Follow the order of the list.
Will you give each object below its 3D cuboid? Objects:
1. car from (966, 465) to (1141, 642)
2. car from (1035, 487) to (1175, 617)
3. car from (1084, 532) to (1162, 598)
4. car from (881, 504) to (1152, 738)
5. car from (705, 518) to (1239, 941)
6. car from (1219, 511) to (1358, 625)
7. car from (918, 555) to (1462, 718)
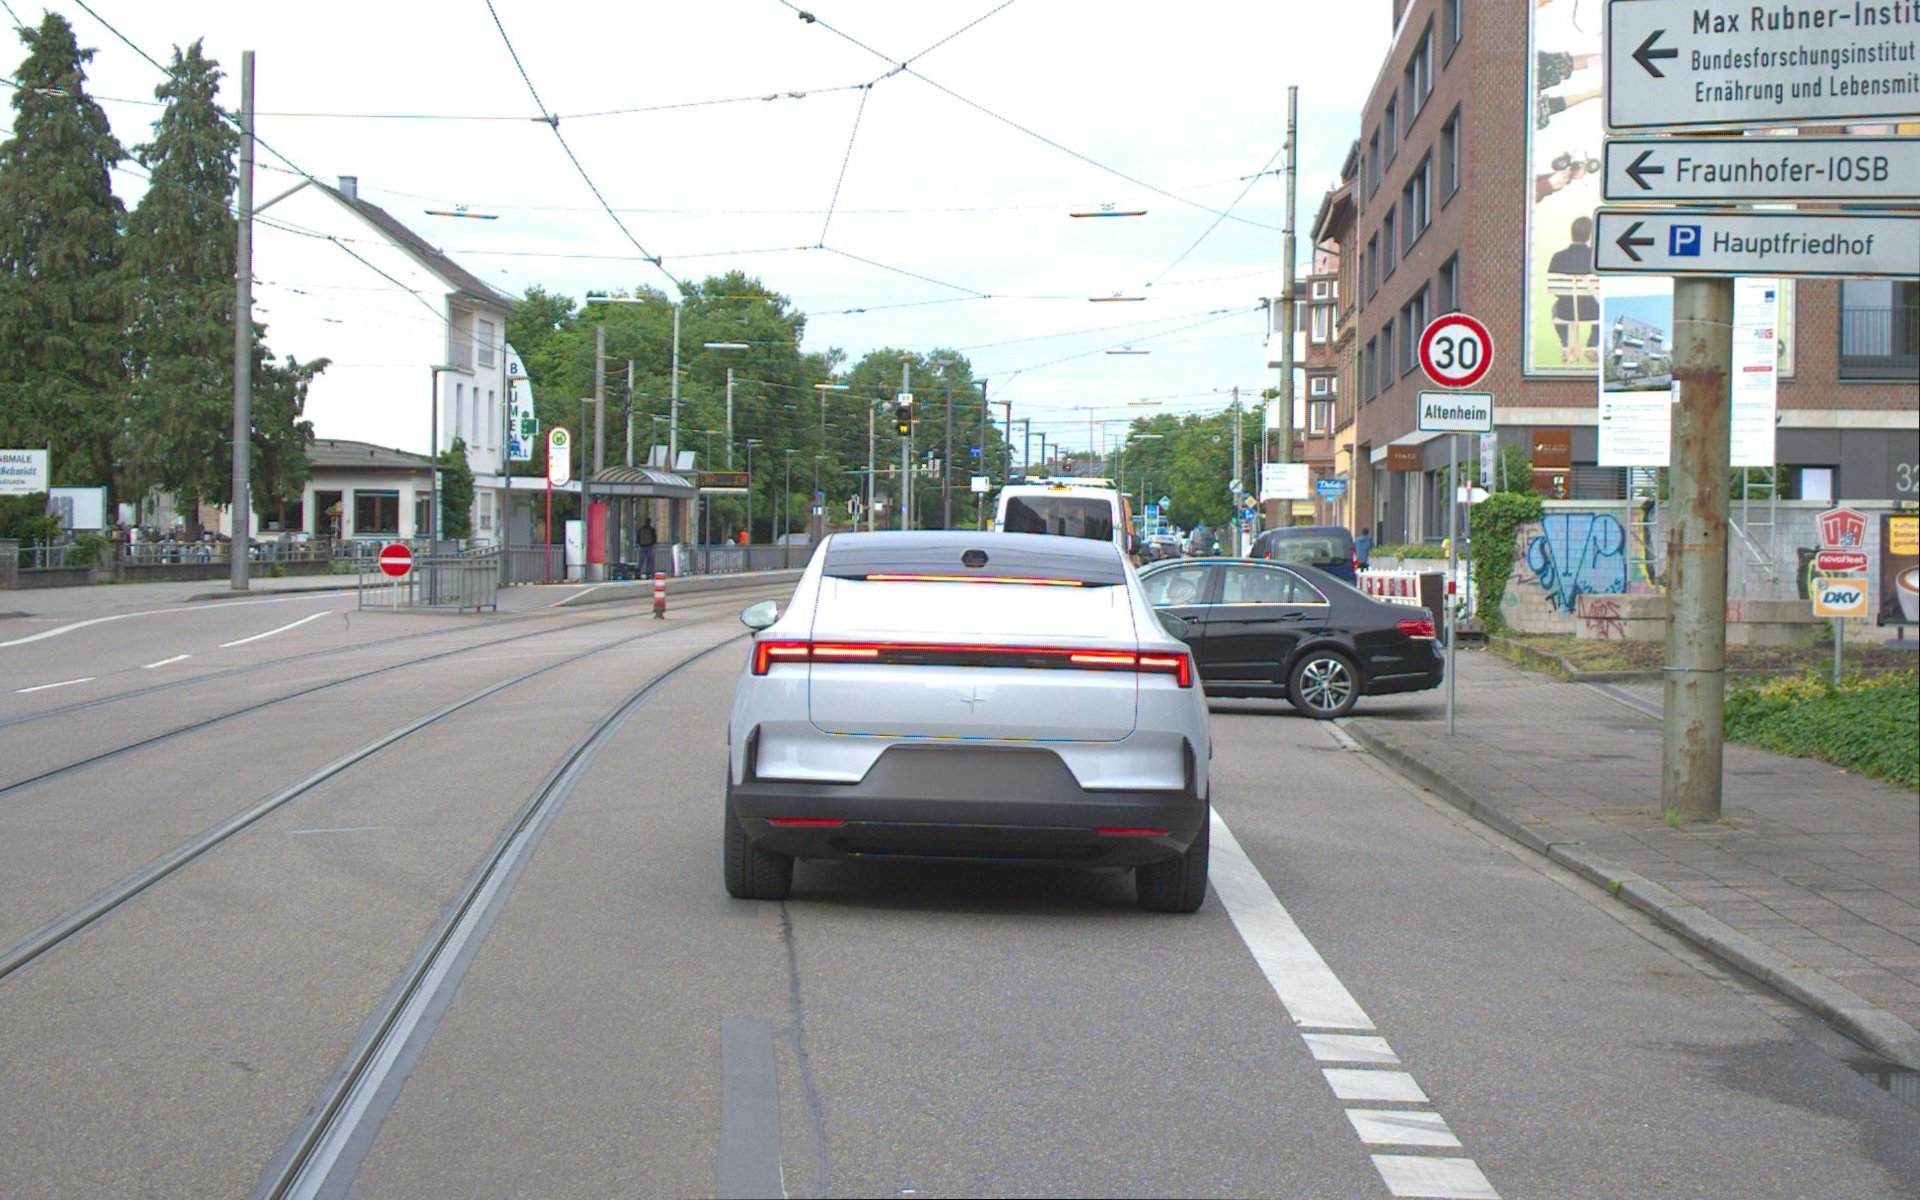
[{"bbox_3d":[1.327,-0.679,50.893,2.216,2.415,4.952,2,0,-2],"label":"car"},{"bbox_3d":[2.528,-0.836,61.191,2.139,2.138,4.744,2,0,-1],"label":"car"},{"bbox_3d":[5.264,-1.130,111.532,1.993,2.007,4.001,2,0,-4],"label":"car"},{"bbox_3d":[0.399,0.148,28.759,1.968,1.750,3.838,2,0,-2],"label":"car"},{"bbox_3d":[-0.090,0.456,15.199,1.981,1.544,4.184,2,1,-4],"label":"car"},{"bbox_3d":[5.636,-0.552,59.398,1.874,1.817,4.096,2,0,-1],"label":"car"},{"bbox_3d":[2.099,0.325,32.375,4.869,1.422,1.953,1,1,-4],"label":"car"}]
